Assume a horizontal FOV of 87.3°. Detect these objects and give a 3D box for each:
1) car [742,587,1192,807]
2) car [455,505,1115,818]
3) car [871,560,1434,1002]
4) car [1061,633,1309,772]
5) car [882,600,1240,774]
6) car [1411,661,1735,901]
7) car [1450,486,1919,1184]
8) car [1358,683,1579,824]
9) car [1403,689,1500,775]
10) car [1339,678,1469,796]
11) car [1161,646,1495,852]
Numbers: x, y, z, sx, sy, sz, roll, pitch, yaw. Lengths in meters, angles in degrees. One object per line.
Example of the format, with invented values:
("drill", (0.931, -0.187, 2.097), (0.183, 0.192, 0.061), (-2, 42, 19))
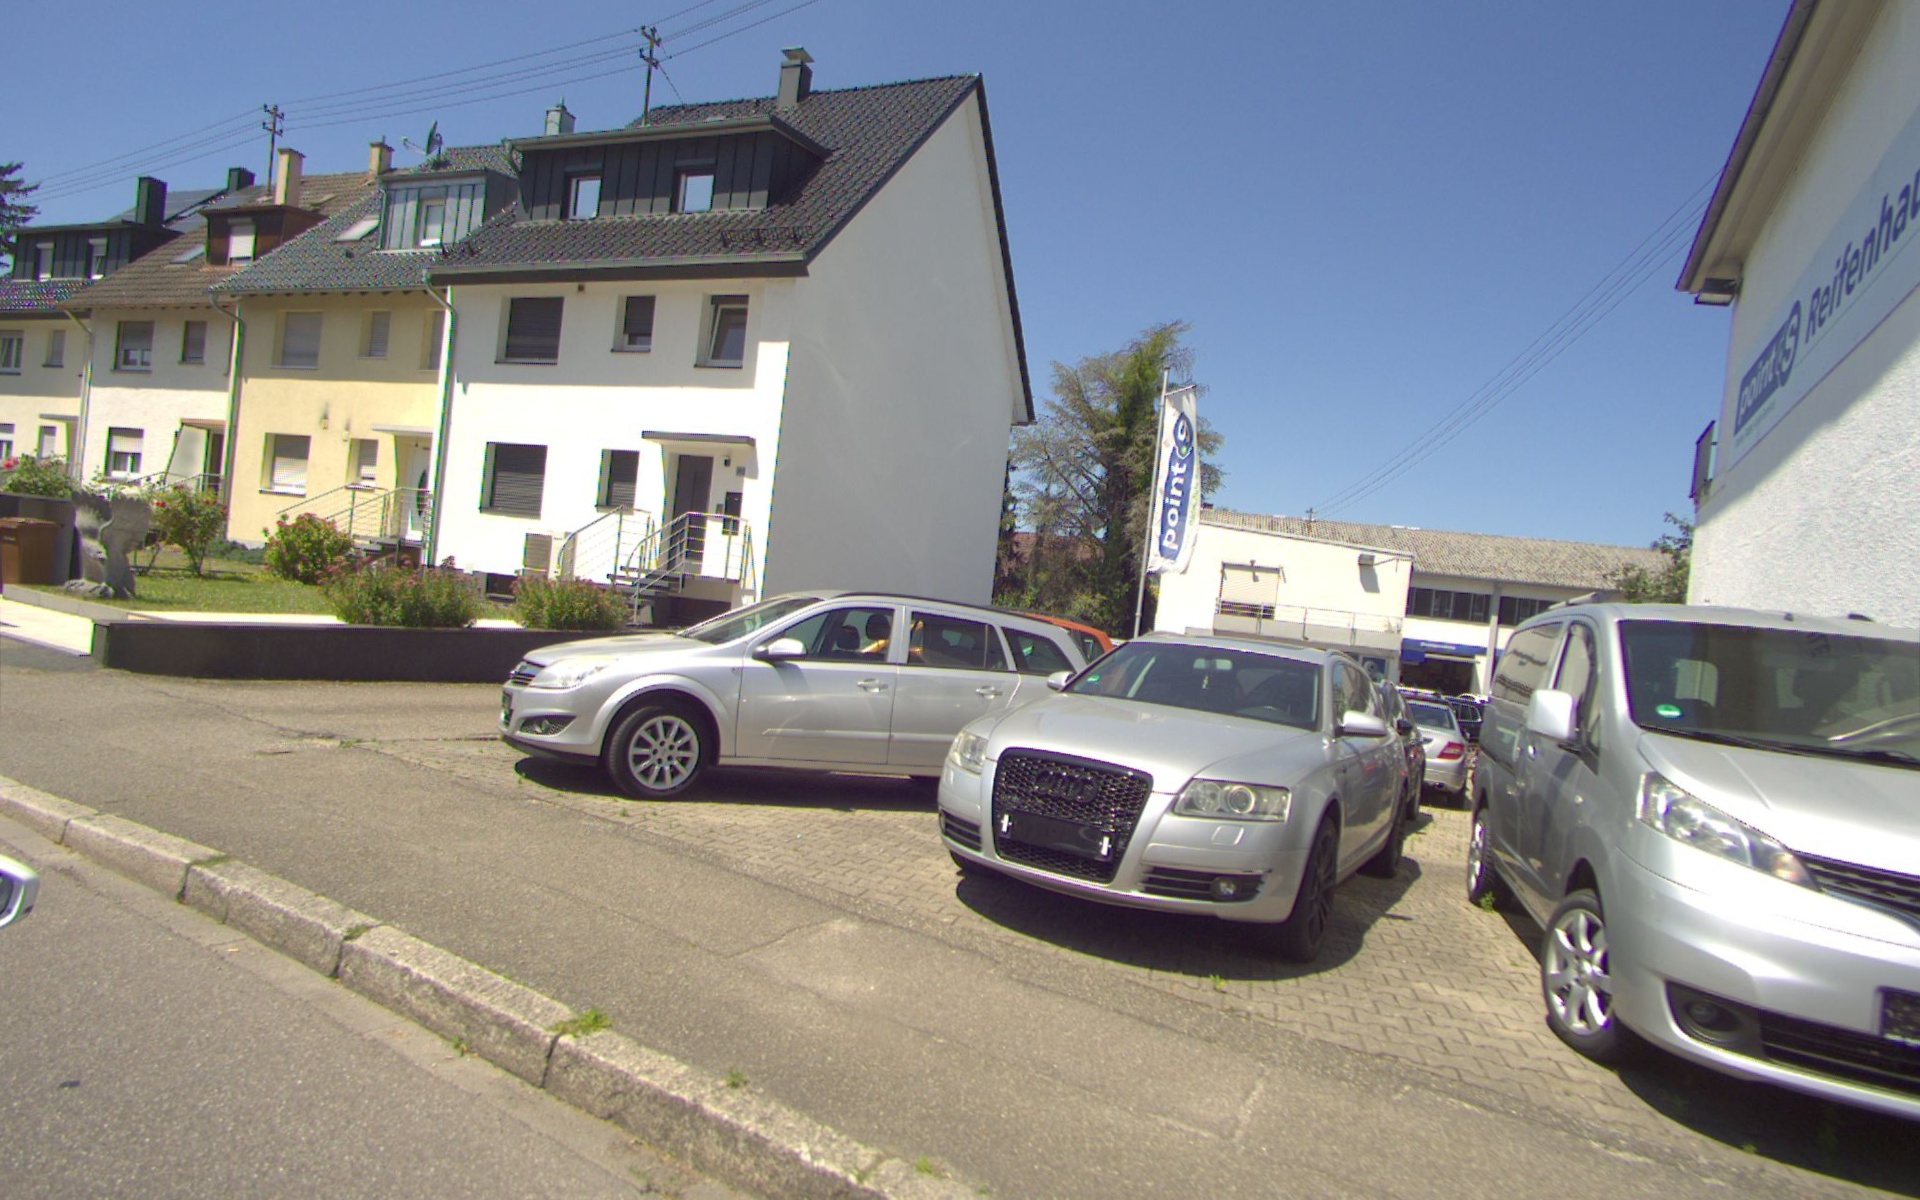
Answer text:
("car", (0.013, 0.995, 10.357), (4.236, 1.661, 1.636), (7, -2, -14))
("car", (-1.174, 0.548, 7.297), (4.258, 1.565, 1.745), (9, -3, -29))
("car", (1.589, 0.893, 5.996), (1.739, 1.424, 4.653), (7, -3, 30))
("car", (3.773, 1.730, 17.367), (3.773, 1.743, 1.627), (8, -2, 4))
("car", (1.210, 1.089, 12.729), (4.054, 1.579, 1.711), (8, -3, -13))
("car", (5.840, 1.541, 9.333), (1.971, 1.503, 3.986), (5, -3, 39))
("car", (3.578, 0.893, 4.708), (1.707, 1.851, 4.310), (7, -3, 21))
("car", (7.460, 2.162, 14.559), (1.971, 1.503, 3.986), (5, -3, 39))
("car", (12.872, 3.398, 26.513), (1.964, 1.814, 4.000), (6, -2, 25))
("car", (8.743, 2.606, 19.816), (1.964, 1.814, 4.000), (6, -2, 25))
("car", (3.967, 1.465, 10.430), (1.971, 1.503, 3.986), (5, -3, 39))
